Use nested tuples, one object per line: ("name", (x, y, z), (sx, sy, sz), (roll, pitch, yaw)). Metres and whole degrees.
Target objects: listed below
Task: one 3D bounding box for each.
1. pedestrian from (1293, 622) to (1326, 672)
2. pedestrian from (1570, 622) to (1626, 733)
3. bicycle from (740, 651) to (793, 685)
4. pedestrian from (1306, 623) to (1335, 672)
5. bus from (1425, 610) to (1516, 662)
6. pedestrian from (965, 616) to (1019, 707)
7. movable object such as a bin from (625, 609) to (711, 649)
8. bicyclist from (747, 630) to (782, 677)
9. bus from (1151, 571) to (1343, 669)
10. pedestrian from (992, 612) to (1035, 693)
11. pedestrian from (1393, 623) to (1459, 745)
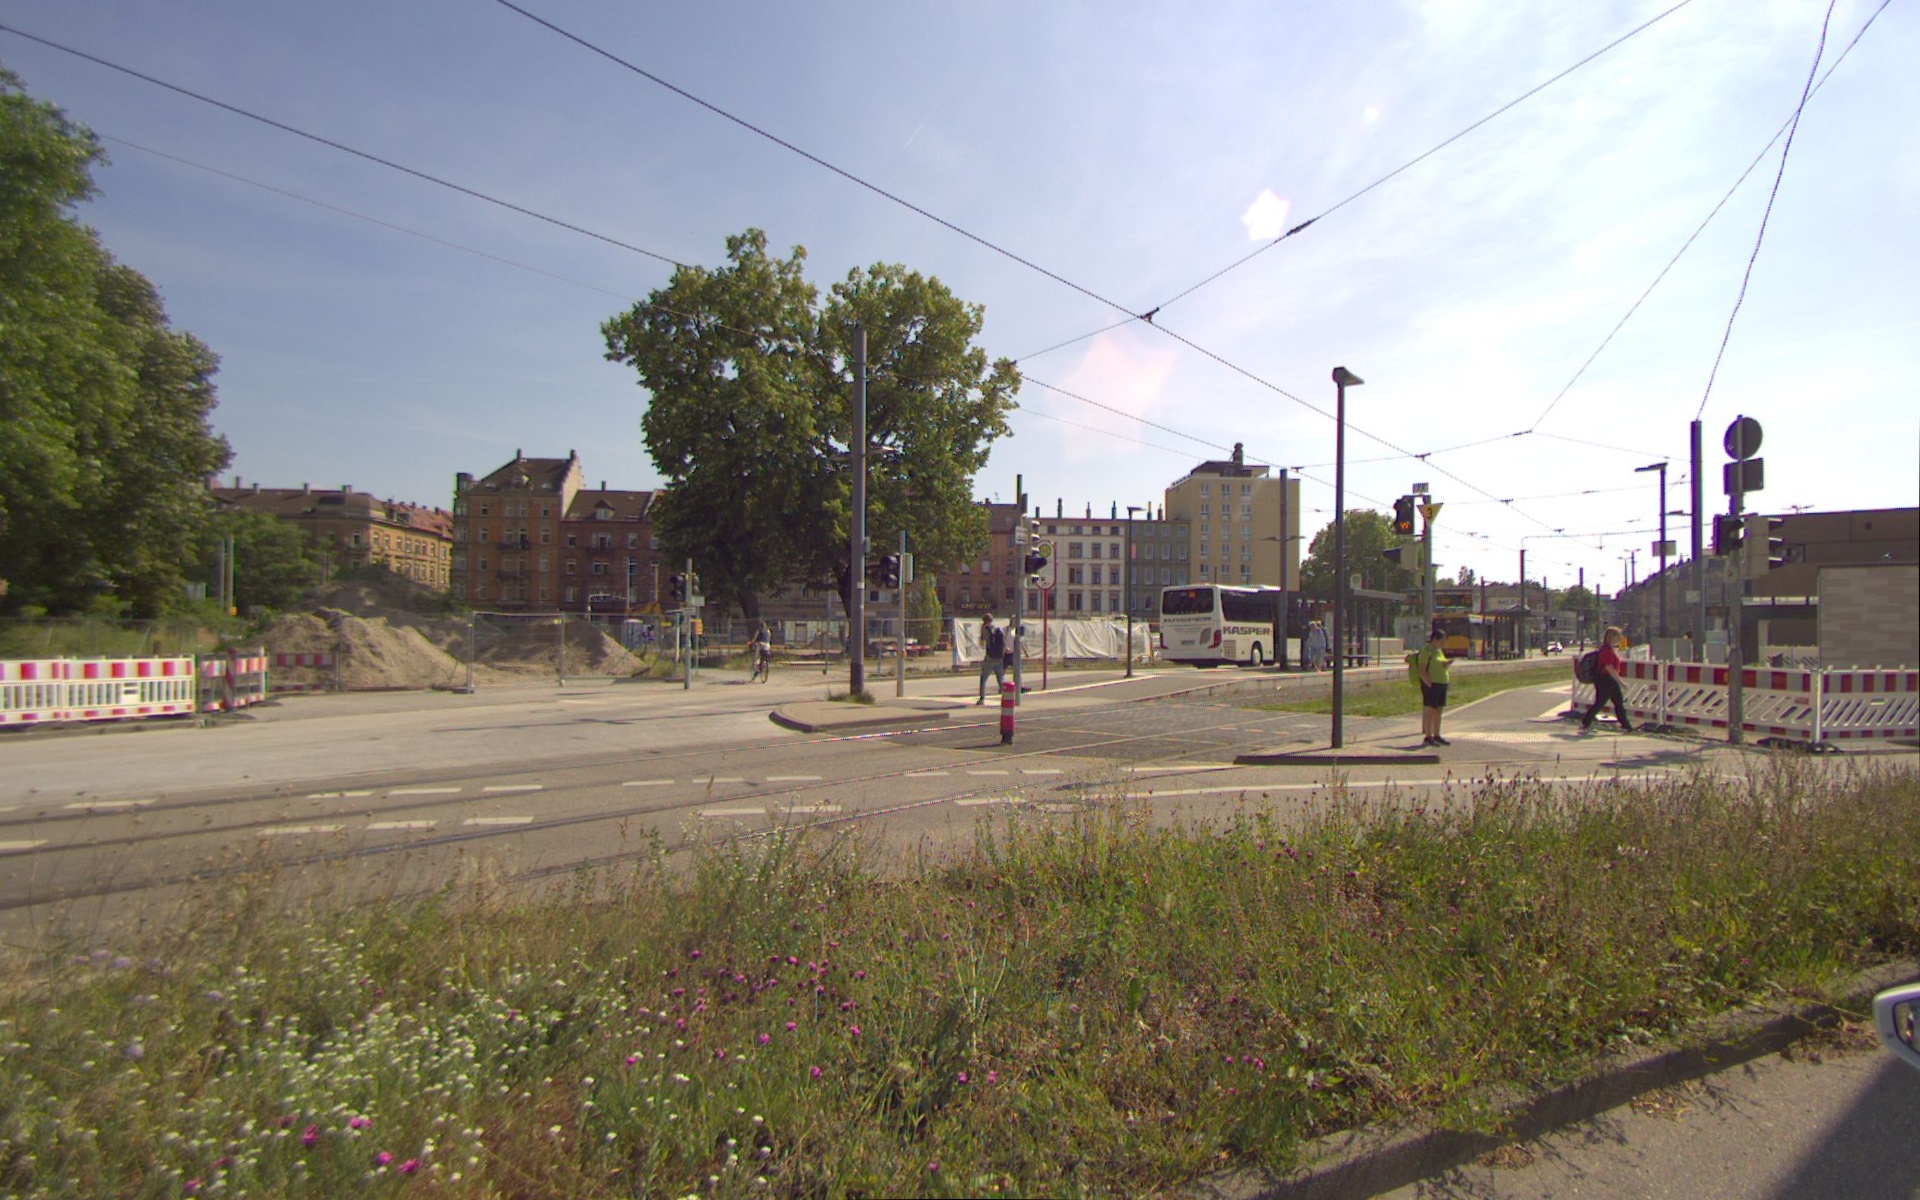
("pedestrian", (11.499, 1.537, 33.008), (0.655, 1.637, 0.786), (0, -1, -33))
("pedestrian", (9.637, 1.160, 15.182), (0.674, 1.637, 0.350), (-1, -2, 30))
("bicycle", (-5.750, 1.989, 29.775), (0.755, 0.935, 2.050), (1, -2, -35))
("pedestrian", (12.212, 1.586, 34.032), (0.580, 1.637, 0.683), (0, -1, -35))
("bus", (35.619, 2.492, 69.743), (2.820, 3.324, 12.598), (-1, -2, 40))
("pedestrian", (0.629, 1.191, 19.760), (0.921, 1.735, 0.556), (-1, -1, 37))
("movable object such as a bin", (-23.354, 2.355, 80.430), (6.453, 3.049, 2.572), (1, -2, -20))
("bicyclist", (-5.841, 1.576, 30.027), (0.613, 1.378, 1.162), (1, -2, -35))
("bus", (12.352, 0.941, 41.950), (2.820, 3.535, 12.598), (-1, -3, 40))
("pedestrian", (1.234, 1.205, 23.271), (0.828, 1.836, 0.647), (0, -1, -20))
("pedestrian", (6.286, 1.112, 13.562), (0.419, 1.564, 0.661), (0, 2, -36))
